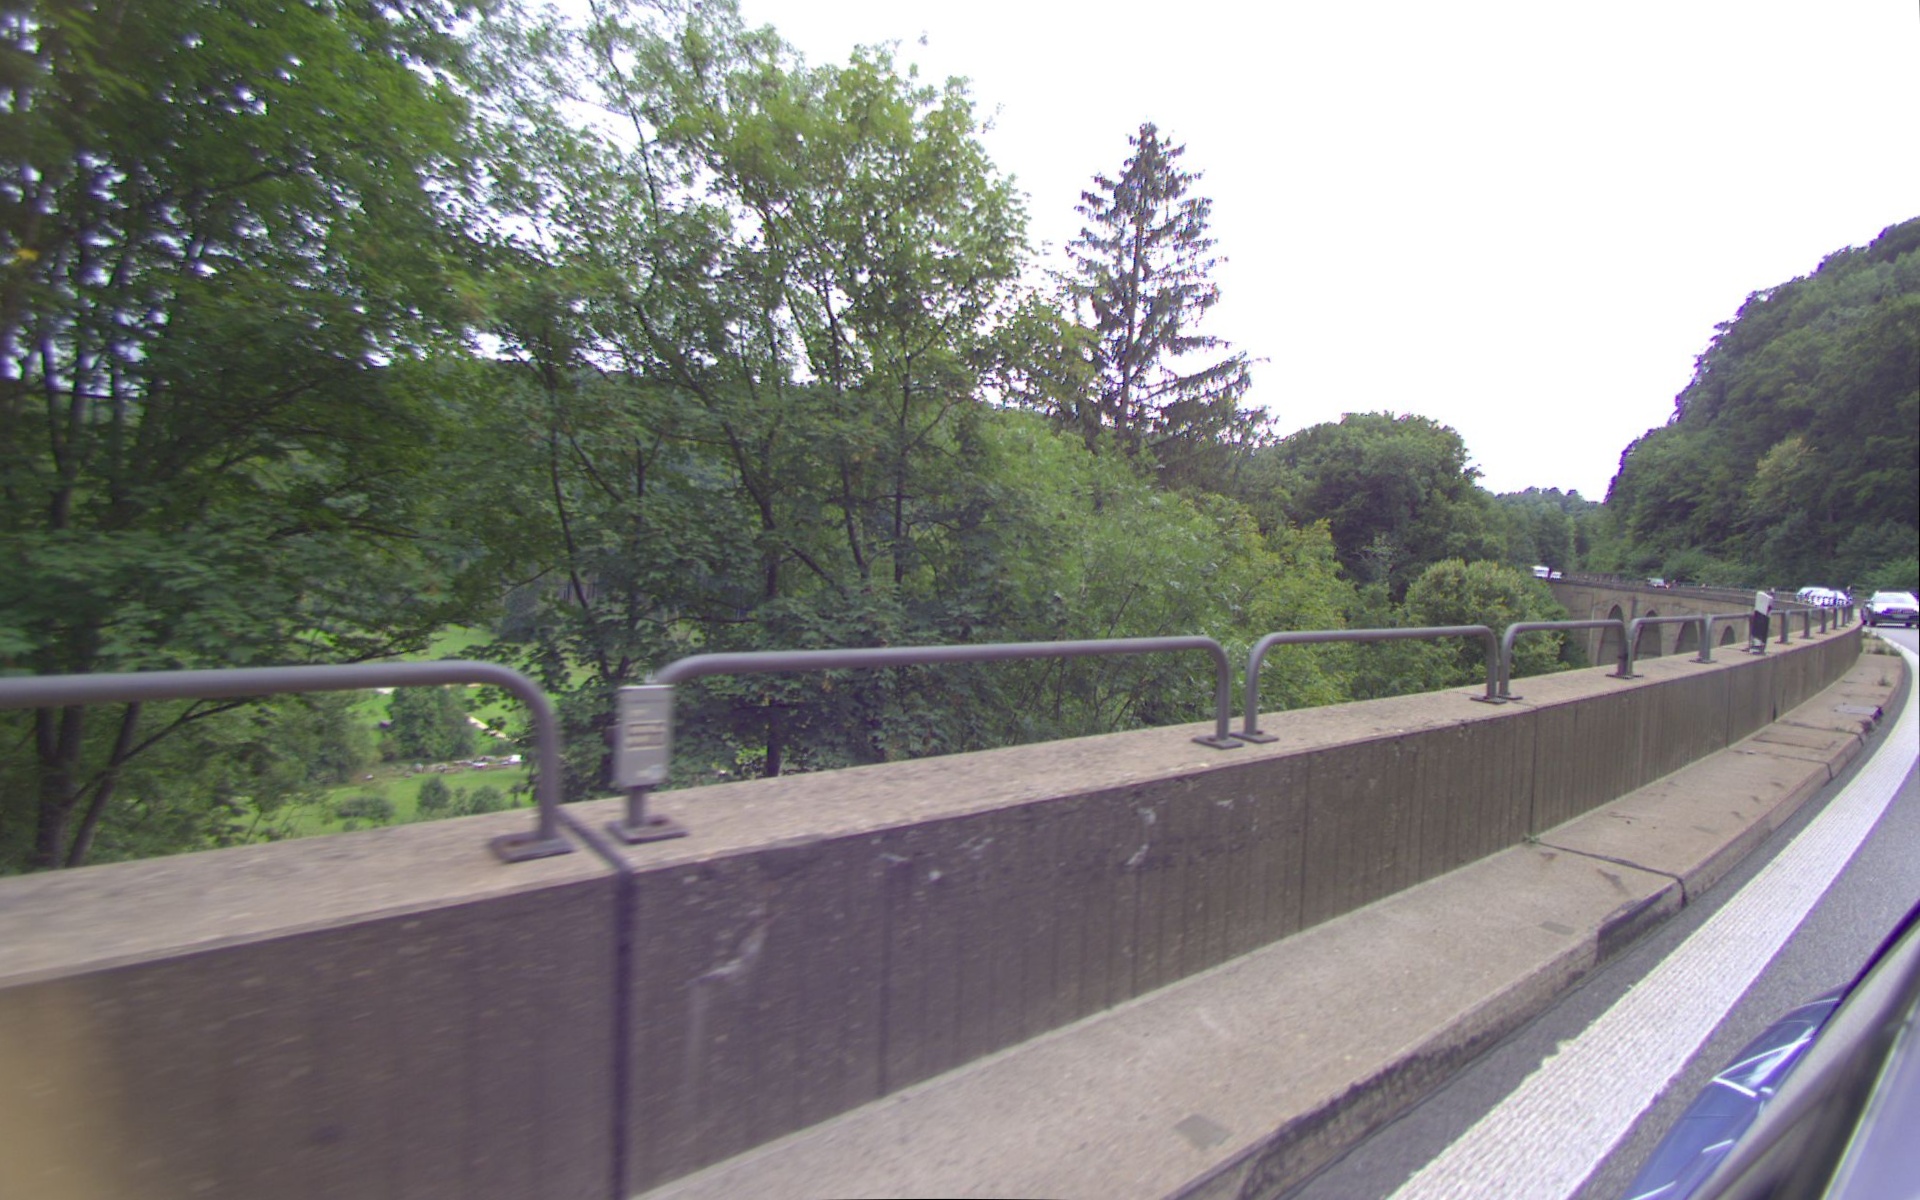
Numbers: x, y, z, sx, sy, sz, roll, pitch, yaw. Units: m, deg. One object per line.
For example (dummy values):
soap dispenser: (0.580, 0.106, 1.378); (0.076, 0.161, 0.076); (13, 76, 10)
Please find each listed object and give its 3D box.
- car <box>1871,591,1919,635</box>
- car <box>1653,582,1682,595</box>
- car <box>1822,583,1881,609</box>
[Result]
car: (40.142, 0.523, 42.751); (1.953, 1.727, 3.950); (0, 1, 35)
car: (76.475, -1.271, 109.428); (1.869, 1.336, 3.968); (0, 1, 24)
car: (49.008, -0.253, 55.692); (1.876, 1.336, 3.953); (0, 1, 33)
